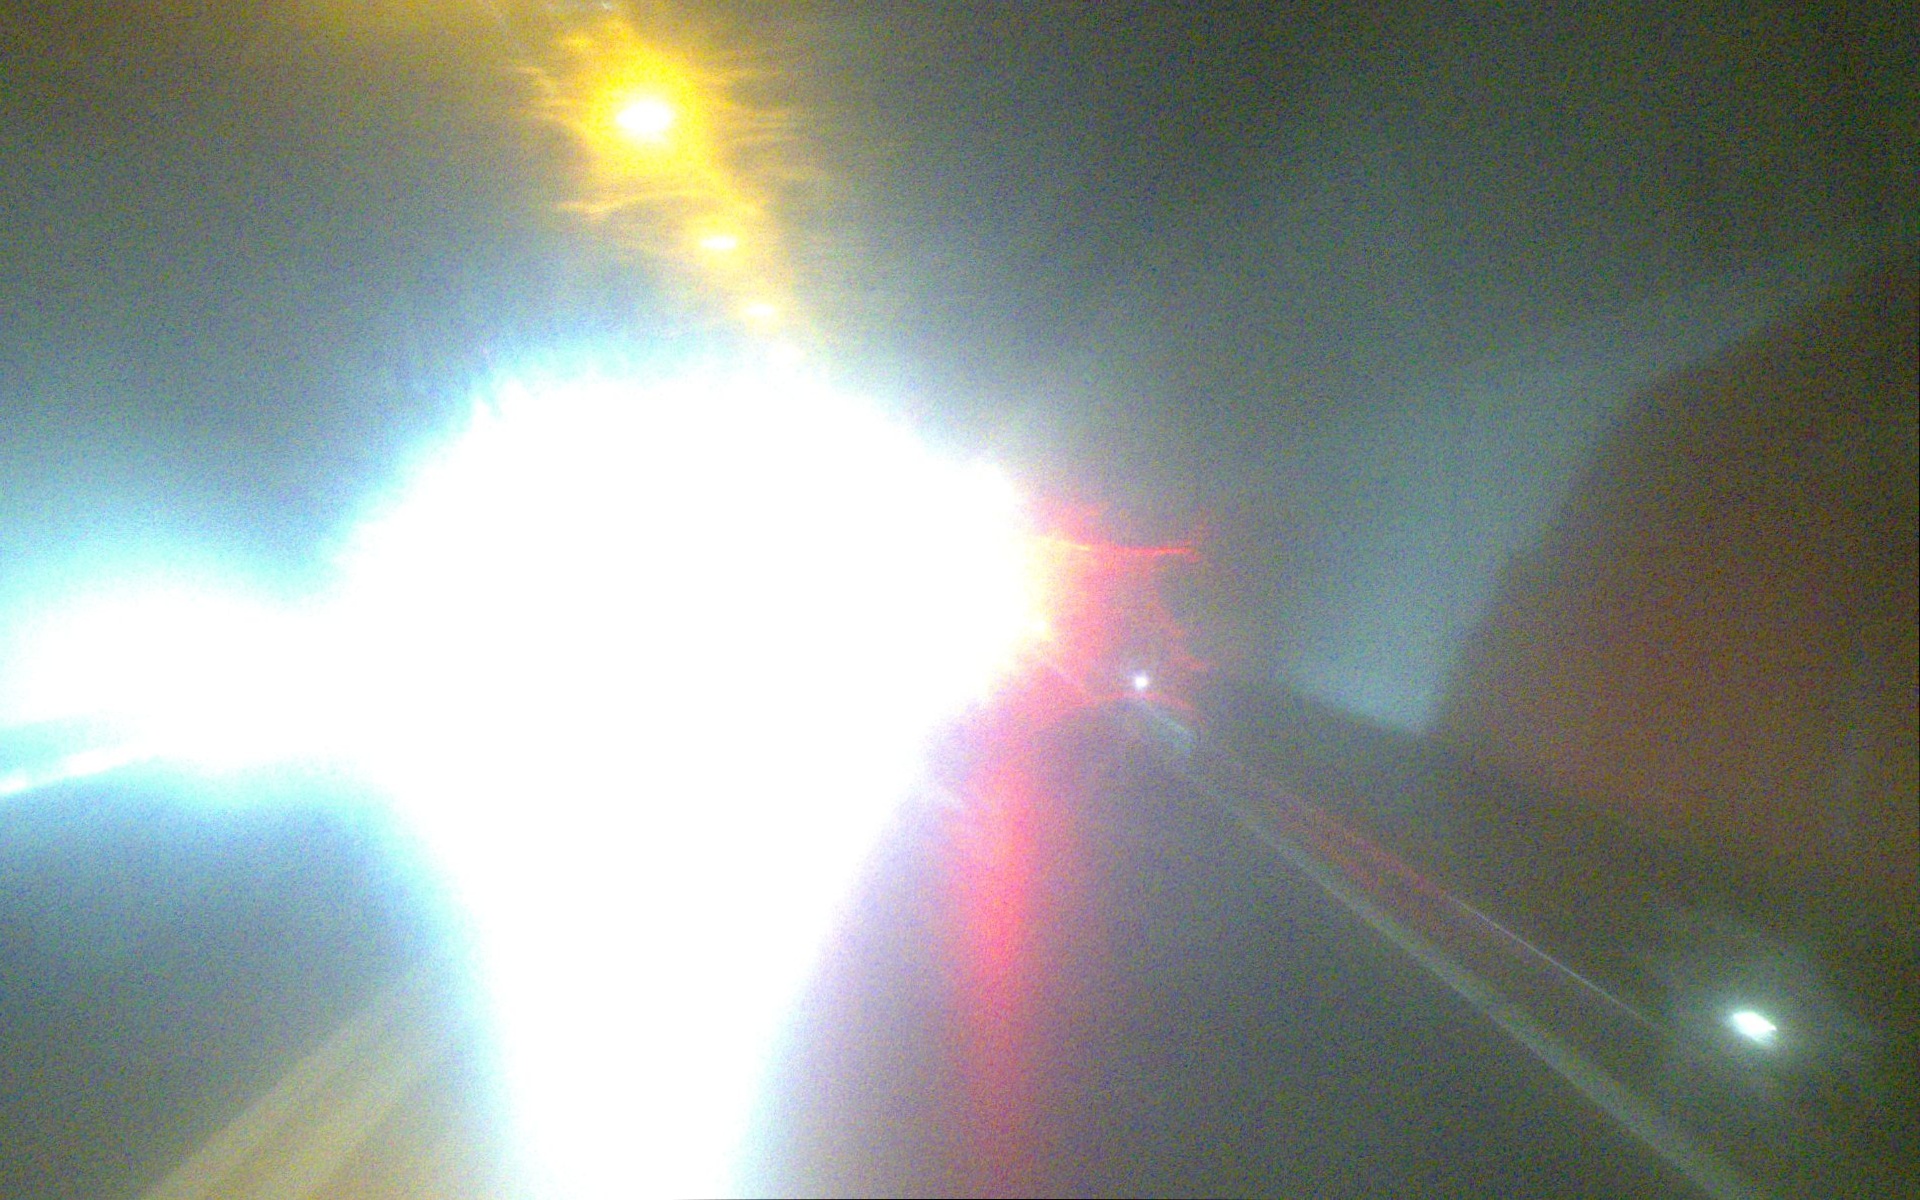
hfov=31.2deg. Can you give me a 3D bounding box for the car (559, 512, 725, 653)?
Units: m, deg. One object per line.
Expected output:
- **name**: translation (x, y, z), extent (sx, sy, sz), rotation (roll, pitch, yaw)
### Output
- **car**: translation (-3.871, -0.258, 42.378), extent (1.635, 1.597, 4.146), rotation (-1, 2, 0)

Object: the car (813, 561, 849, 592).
- **car**: translation (-6.430, -1.196, 171.076), extent (1.777, 1.404, 4.295), rotation (-1, 2, -3)

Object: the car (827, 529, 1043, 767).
- **car**: translation (-0.190, 0.327, 28.429), extent (1.635, 1.751, 4.146), rotation (-1, 2, 0)
